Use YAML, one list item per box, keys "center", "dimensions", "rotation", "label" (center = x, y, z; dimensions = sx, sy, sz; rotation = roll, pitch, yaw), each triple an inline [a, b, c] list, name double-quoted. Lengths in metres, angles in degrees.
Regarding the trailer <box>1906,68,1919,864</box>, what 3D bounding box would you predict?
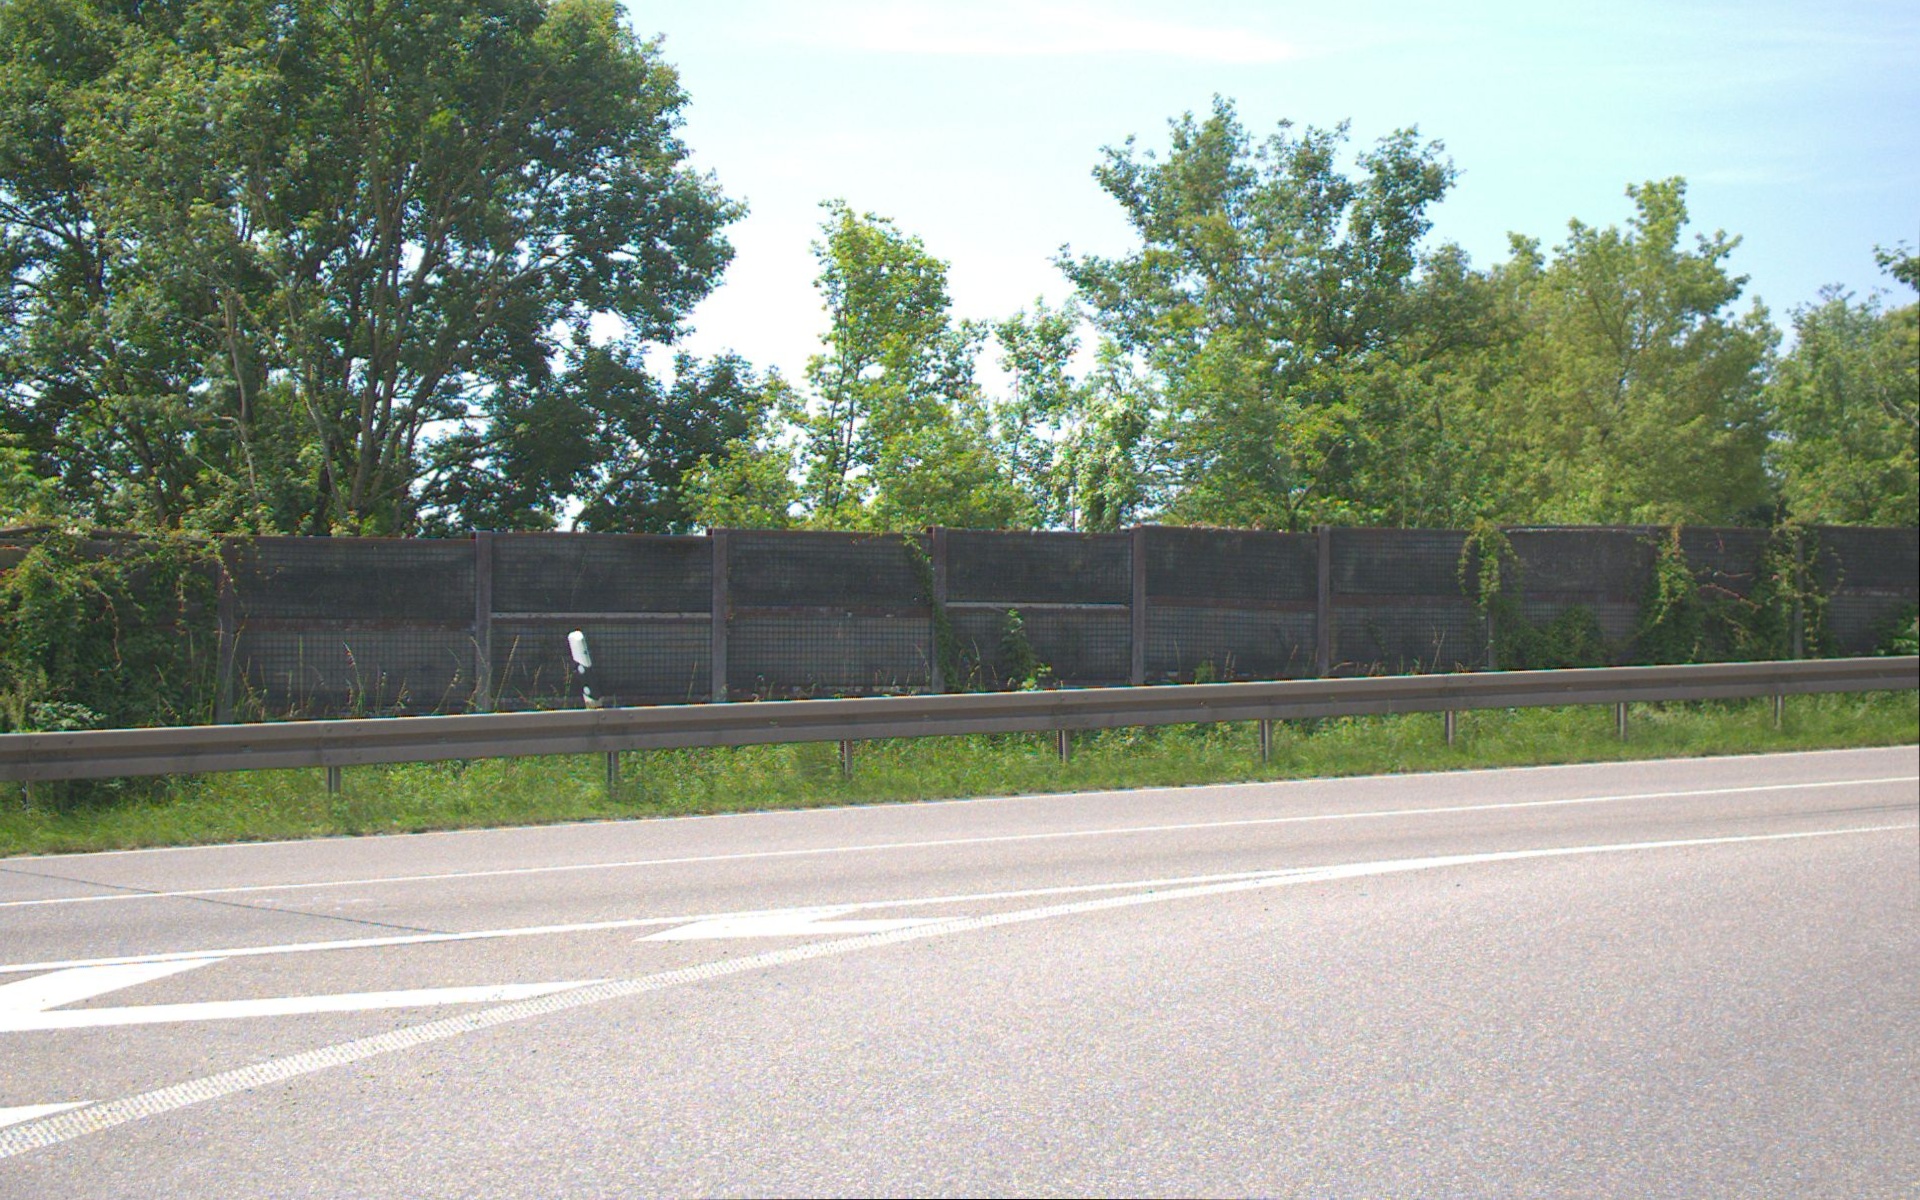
- center: [10.628, -0.692, 20.953]
  dimensions: [13.315, 4.021, 3.035]
  rotation: [0, 0, -44]
  label: "trailer"
